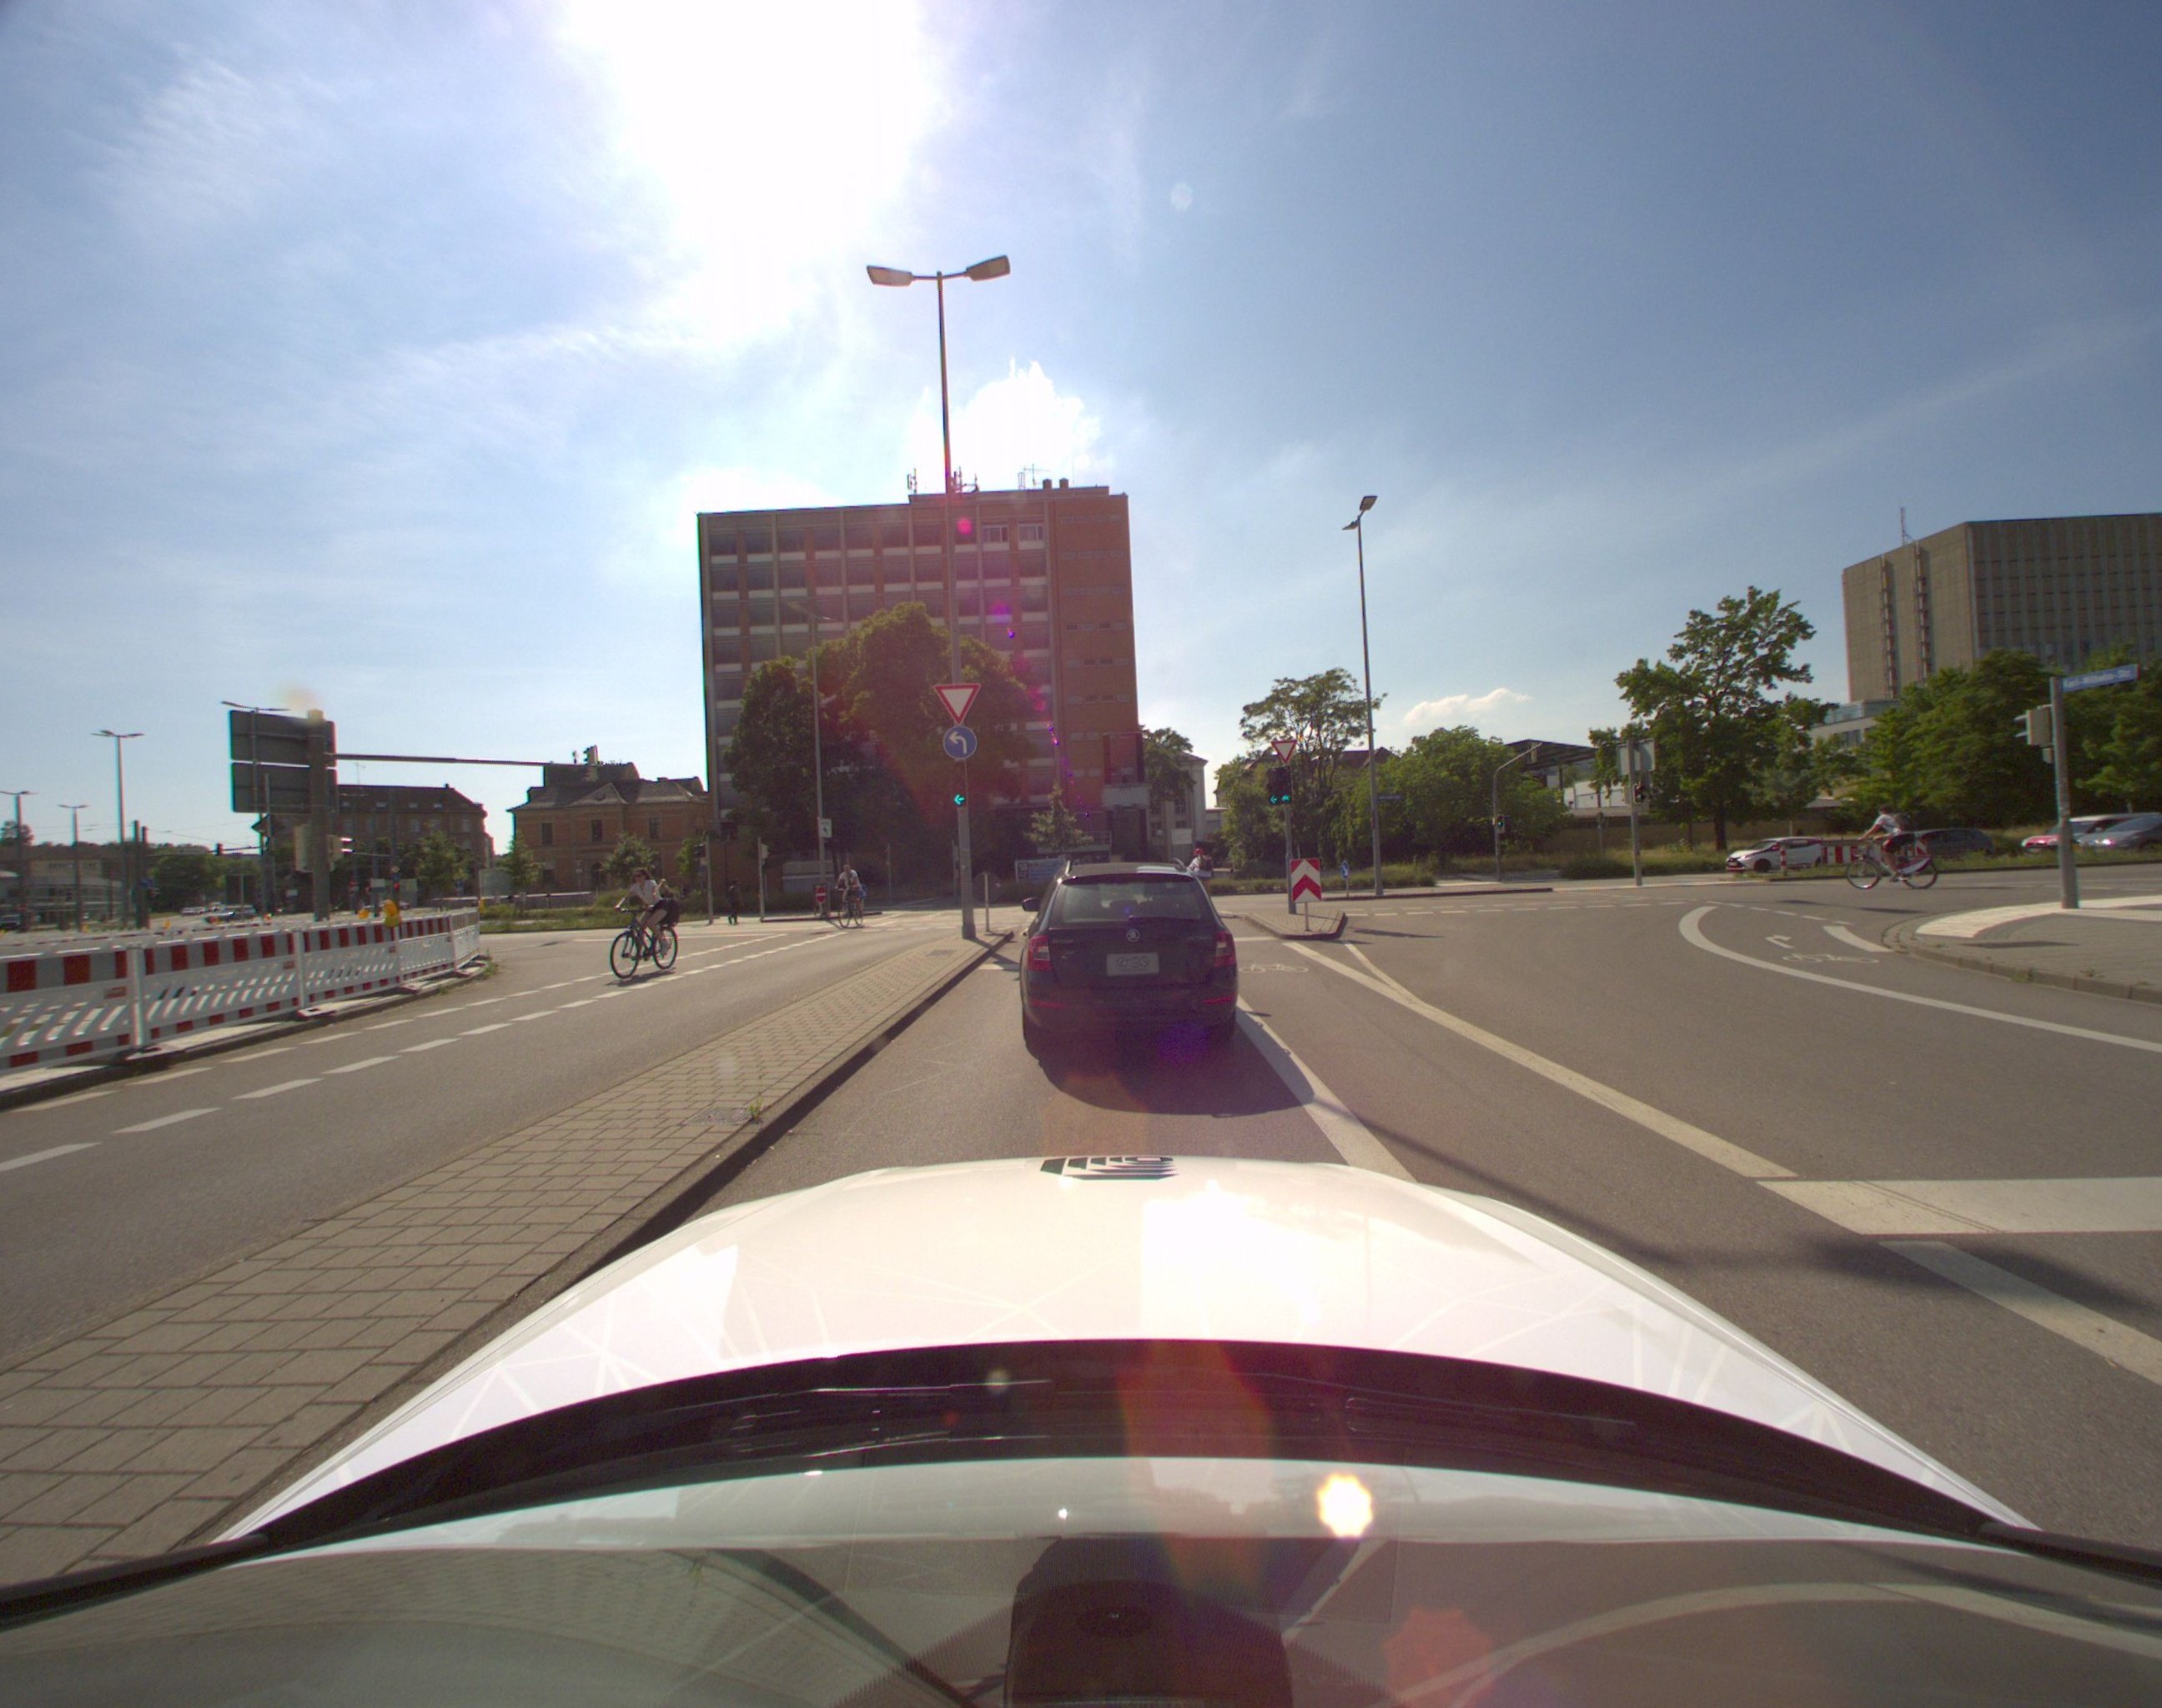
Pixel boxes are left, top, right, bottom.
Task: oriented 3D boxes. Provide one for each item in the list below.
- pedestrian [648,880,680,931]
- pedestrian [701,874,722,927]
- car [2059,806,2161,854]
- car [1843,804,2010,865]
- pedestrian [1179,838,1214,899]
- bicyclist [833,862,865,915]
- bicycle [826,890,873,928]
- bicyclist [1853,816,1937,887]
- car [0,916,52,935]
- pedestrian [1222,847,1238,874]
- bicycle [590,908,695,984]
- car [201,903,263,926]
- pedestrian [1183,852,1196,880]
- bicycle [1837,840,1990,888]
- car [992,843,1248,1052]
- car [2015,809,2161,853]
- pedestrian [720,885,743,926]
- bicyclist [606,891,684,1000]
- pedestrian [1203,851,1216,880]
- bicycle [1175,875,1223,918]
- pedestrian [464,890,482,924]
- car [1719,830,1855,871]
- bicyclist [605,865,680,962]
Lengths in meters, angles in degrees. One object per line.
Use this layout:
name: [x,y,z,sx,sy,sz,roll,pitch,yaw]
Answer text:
pedestrian: [-14.926,1.843,29.166,0.737,1.752,1.105,-3,-3,-14]
pedestrian: [-14.200,1.776,31.259,0.618,2.014,0.679,0,-2,-36]
car: [34.522,-0.821,26.044,4.074,1.406,1.642,-3,-2,7]
car: [32.128,-0.696,31.081,3.966,2.014,2.004,-3,-2,7]
pedestrian: [2.855,0.360,20.190,0.583,1.466,1.010,-1,-1,-8]
bicyclist: [-6.518,0.964,22.927,0.537,1.417,1.030,-4,-2,0]
bicycle: [-6.541,1.540,23.116,0.702,0.977,2.030,-3,-2,0]
bicyclist: [17.397,-0.047,17.431,0.496,1.470,1.135,0,-2,-20]
car: [-113.381,7.616,87.215,1.646,1.717,3.984,-3,-1,-11]
pedestrian: [10.502,0.462,57.377,0.786,1.874,0.642,-4,0,24]
bicycle: [-6.954,1.431,13.031,0.617,0.961,1.966,-5,0,-3]
car: [-85.940,6.093,82.509,1.986,2.013,4.002,-3,-1,2]
pedestrian: [7.209,0.793,54.018,0.591,1.874,0.642,-3,-1,25]
bicycle: [17.537,0.217,17.233,0.675,0.916,2.154,-3,-1,-20]
car: [0.349,0.672,7.637,1.773,1.443,3.820,-1,0,2]
car: [41.846,-0.946,33.621,4.294,1.569,1.911,-3,0,1]
pedestrian: [-13.033,1.910,30.371,0.632,1.491,0.614,-3,-1,-15]
bicyclist: [-6.954,1.431,13.031,0.617,1.581,1.013,-5,-1,-3]
pedestrian: [8.341,0.742,52.867,0.634,1.874,0.797,-4,0,1]
bicycle: [2.891,1.024,20.143,0.596,0.931,2.022,-1,0,-9]
pedestrian: [-37.166,3.218,49.777,0.624,2.013,0.522,-3,-1,-3]
car: [29.817,-0.120,34.499,3.972,1.464,2.000,-3,-2,1]
bicyclist: [-6.999,0.922,13.037,0.617,1.443,0.919,-5,-1,-3]
